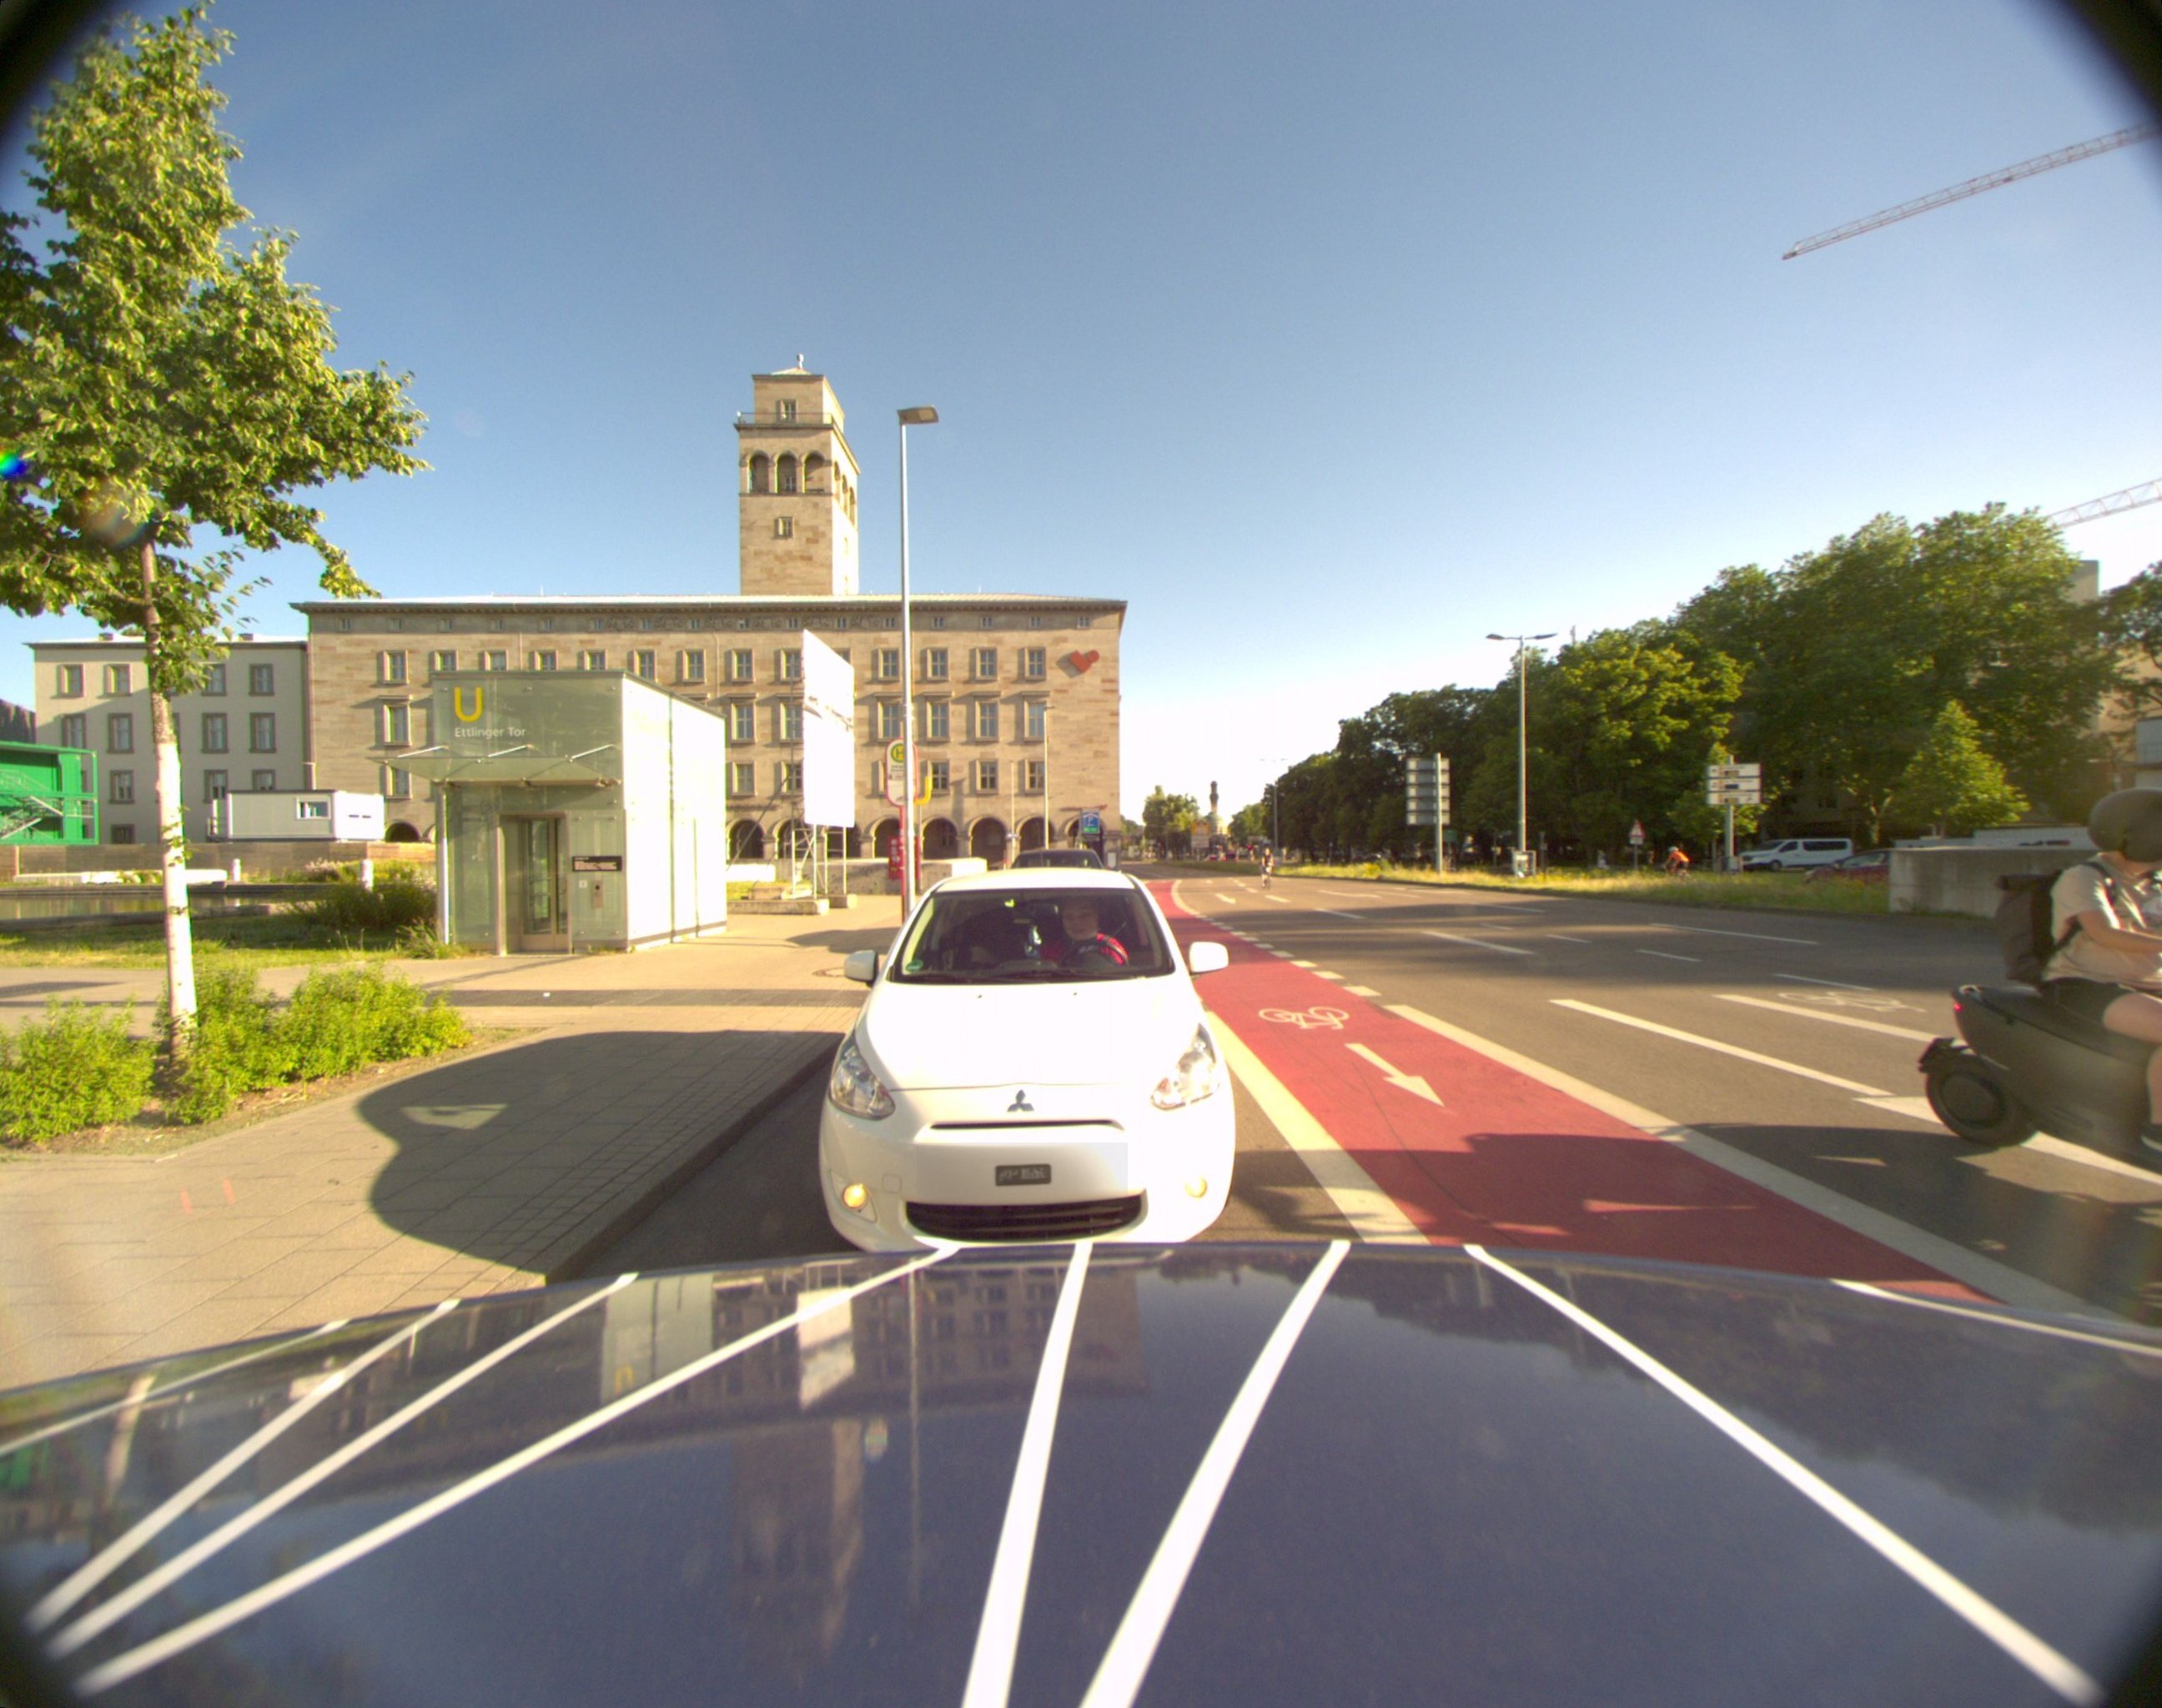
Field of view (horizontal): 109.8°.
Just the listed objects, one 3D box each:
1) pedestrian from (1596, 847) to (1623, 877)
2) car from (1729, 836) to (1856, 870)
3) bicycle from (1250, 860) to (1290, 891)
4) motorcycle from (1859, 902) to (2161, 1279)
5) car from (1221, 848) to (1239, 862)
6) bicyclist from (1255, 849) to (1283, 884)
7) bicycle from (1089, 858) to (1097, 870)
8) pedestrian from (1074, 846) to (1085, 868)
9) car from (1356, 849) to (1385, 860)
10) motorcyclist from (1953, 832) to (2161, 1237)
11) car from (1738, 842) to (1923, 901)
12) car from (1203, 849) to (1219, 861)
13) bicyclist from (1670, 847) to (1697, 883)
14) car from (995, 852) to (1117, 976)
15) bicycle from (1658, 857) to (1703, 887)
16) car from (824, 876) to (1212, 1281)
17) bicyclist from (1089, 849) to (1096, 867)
[{"bbox_3d":[33.632,0.503,48.368,0.989,1.821,1.019,-2,1,-2],"label":"pedestrian"},{"bbox_3d":[42.141,-0.057,45.110,5.516,1.924,2.065,-1,1,2],"label":"car"},{"bbox_3d":[7.387,0.801,29.828,0.854,1.109,2.808,-2,0,1],"label":"bicycle"},{"bbox_3d":[4.289,0.897,2.886,0.724,1.286,1.884,-2,0,1],"label":"motorcycle"},{"bbox_3d":[21.602,0.109,110.212,1.819,1.817,3.999,-2,1,1],"label":"car"},{"bbox_3d":[7.388,0.492,29.934,0.854,1.340,0.829,-2,1,1],"label":"bicyclist"},{"bbox_3d":[1.111,0.920,72.280,0.532,1.103,1.625,-2,0,7],"label":"bicycle"},{"bbox_3d":[-0.158,0.389,90.404,1.122,2.524,1.055,-2,1,1],"label":"pedestrian"},{"bbox_3d":[53.322,0.021,140.112,4.585,1.827,1.876,-2,1,-8],"label":"car"},{"bbox_3d":[4.281,0.653,2.939,0.727,1.466,0.917,-2,0,1],"label":"motorcyclist"},{"bbox_3d":[22.175,0.457,22.714,1.658,1.576,3.897,-1,1,-1],"label":"car"},{"bbox_3d":[20.597,0.105,120.440,1.747,1.778,3.947,-2,1,1],"label":"car"},{"bbox_3d":[24.296,0.427,30.664,0.497,1.429,0.713,-2,1,-1],"label":"bicyclist"},{"bbox_3d":[-0.367,0.837,12.520,1.642,1.653,3.849,-2,0,-1],"label":"car"},{"bbox_3d":[24.305,0.718,30.824,0.497,1.148,1.650,-2,1,-1],"label":"bicycle"},{"bbox_3d":[-0.228,0.952,4.840,1.496,1.477,3.604,-2,0,1],"label":"car"},{"bbox_3d":[1.095,0.378,72.278,0.540,1.743,0.732,-2,1,5],"label":"bicyclist"}]
